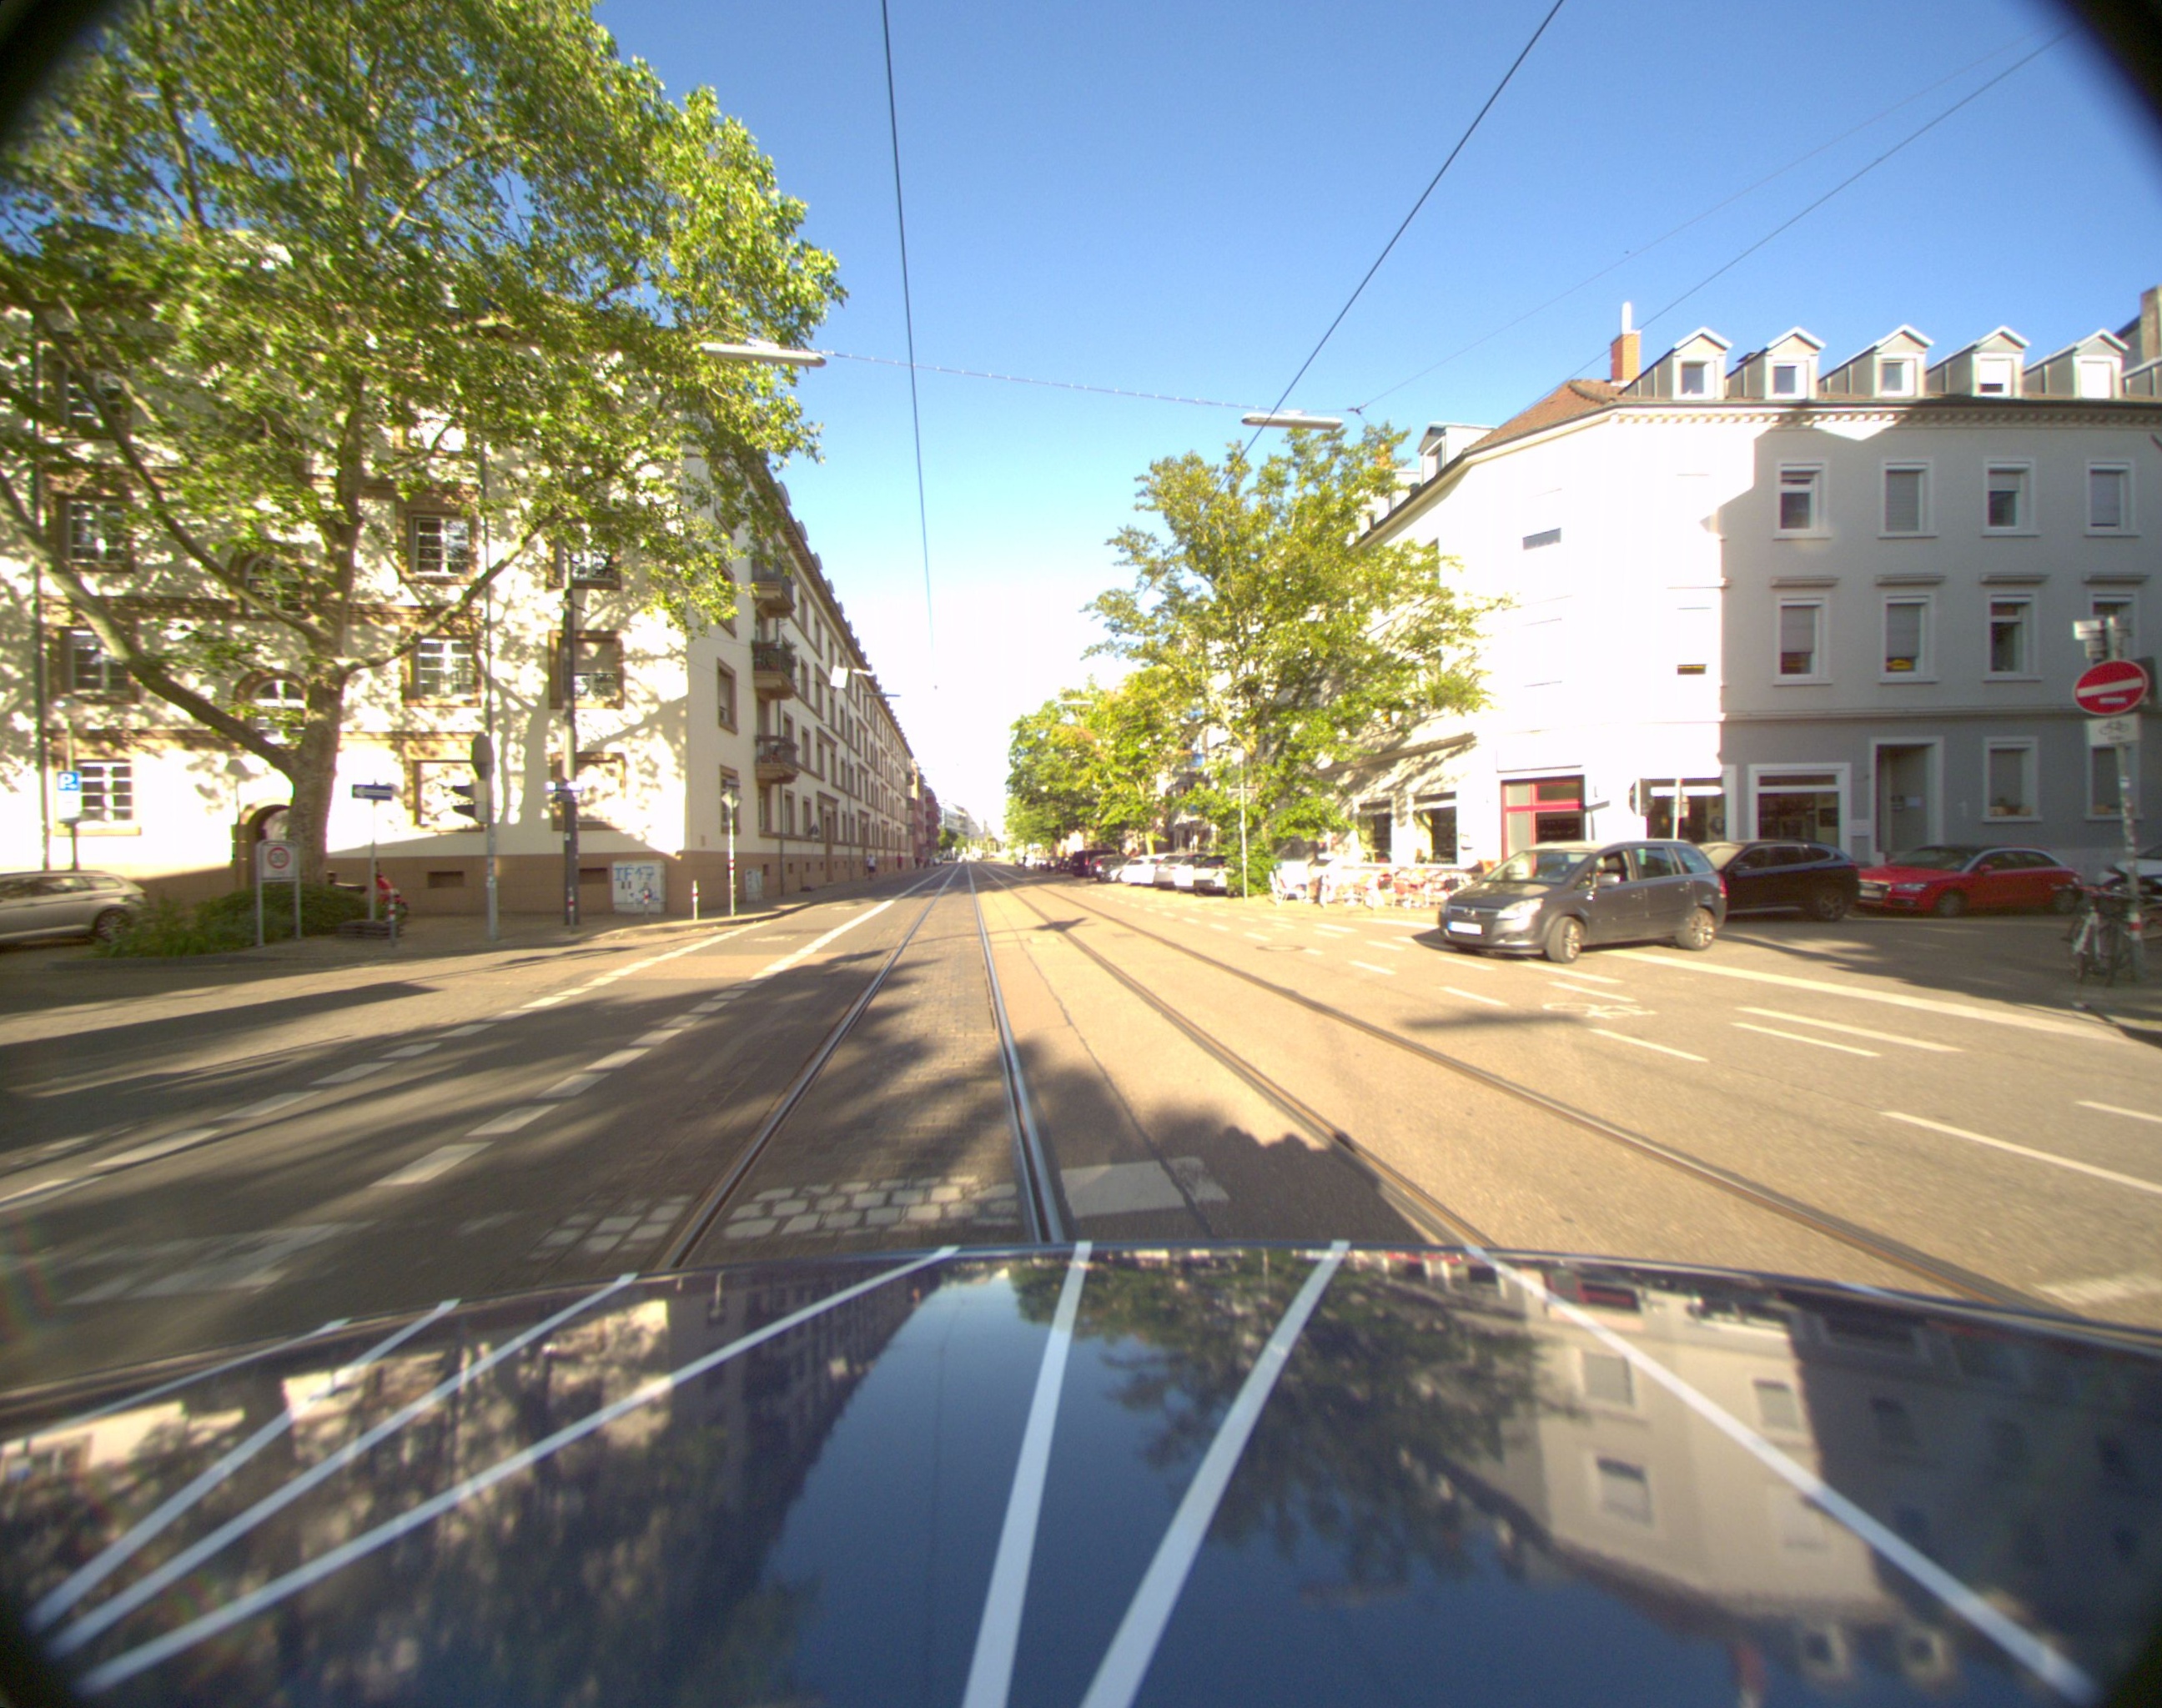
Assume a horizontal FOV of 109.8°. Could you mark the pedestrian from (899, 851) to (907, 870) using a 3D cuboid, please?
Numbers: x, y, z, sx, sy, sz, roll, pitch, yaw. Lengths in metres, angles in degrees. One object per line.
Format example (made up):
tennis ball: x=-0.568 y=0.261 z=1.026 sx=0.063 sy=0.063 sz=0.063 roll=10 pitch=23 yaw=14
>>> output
pedestrian: x=-17.280 y=0.624 z=73.670 sx=0.738 sy=1.827 sz=0.696 roll=-1 pitch=1 yaw=-10

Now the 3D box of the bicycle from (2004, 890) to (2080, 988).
bicycle: x=11.373 y=0.961 z=9.021 sx=1.691 sy=1.039 sz=0.457 roll=1 pitch=-1 yaw=-42

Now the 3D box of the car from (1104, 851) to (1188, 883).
car: x=3.468 y=0.670 z=40.594 sx=4.137 sy=1.480 sz=1.618 roll=-2 pitch=2 yaw=-14

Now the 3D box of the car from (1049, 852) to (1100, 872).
car: x=-0.564 y=0.680 z=66.708 sx=4.140 sy=1.480 sz=1.617 roll=-3 pitch=2 yaw=-24

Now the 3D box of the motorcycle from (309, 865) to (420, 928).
motorcycle: x=-15.802 y=0.923 z=16.795 sx=1.764 sy=1.325 sz=0.515 roll=-1 pitch=1 yaw=-11

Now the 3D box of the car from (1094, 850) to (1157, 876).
car: x=2.989 y=0.547 z=50.566 sx=4.143 sy=1.480 sz=1.615 roll=-3 pitch=2 yaw=-41

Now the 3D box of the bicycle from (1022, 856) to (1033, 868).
bicycle: x=-5.330 y=0.784 z=75.674 sx=0.902 sy=1.158 sz=3.246 roll=-1 pitch=0 yaw=-8

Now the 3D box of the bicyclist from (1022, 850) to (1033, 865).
bicyclist: x=-5.333 y=0.371 z=75.648 sx=0.902 sy=1.445 sz=1.262 roll=-1 pitch=1 yaw=-8

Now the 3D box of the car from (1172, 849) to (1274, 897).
car: x=5.519 y=0.671 z=29.251 sx=4.143 sy=1.547 sz=1.615 roll=-3 pitch=2 yaw=-41

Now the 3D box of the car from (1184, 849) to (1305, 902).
car: x=5.755 y=0.688 z=26.571 sx=4.142 sy=1.547 sz=1.616 roll=-3 pitch=2 yaw=-32

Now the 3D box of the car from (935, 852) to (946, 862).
car: x=-25.451 y=0.516 z=137.662 sx=1.890 sy=1.674 sz=4.388 roll=-2 pitch=-1 yaw=-11

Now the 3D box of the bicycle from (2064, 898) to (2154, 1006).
bicycle: x=11.690 y=1.069 z=8.674 sx=1.667 sy=1.040 sz=0.449 roll=-1 pitch=1 yaw=-42

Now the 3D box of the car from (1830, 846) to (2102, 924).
car: x=18.535 y=0.629 z=16.027 sx=3.953 sy=1.494 sz=1.650 roll=-1 pitch=-1 yaw=-3

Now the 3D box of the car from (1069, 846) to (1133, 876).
car: x=1.433 y=0.442 z=52.288 sx=4.143 sy=1.877 sz=1.884 roll=-3 pitch=2 yaw=-41

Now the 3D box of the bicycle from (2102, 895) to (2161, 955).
bicycle: x=15.626 y=1.036 z=10.791 sx=0.371 sy=0.813 sz=1.311 roll=-1 pitch=1 yaw=-11

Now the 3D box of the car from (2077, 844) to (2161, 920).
car: x=24.287 y=0.562 z=16.317 sx=3.786 sy=1.577 sz=1.641 roll=-1 pitch=-1 yaw=-3

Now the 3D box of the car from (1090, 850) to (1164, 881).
car: x=2.638 y=0.620 z=43.002 sx=4.143 sy=1.480 sz=1.615 roll=-3 pitch=2 yaw=-41

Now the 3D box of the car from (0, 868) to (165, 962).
car: x=-19.523 y=1.091 z=13.399 sx=1.728 sy=1.562 sz=4.472 roll=-1 pitch=0 yaw=-9

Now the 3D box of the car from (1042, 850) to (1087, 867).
car: x=-1.672 y=0.431 z=75.961 sx=4.140 sy=1.480 sz=1.617 roll=-3 pitch=2 yaw=-24

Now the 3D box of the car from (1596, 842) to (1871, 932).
car: x=13.194 y=0.654 z=15.529 sx=4.195 sy=1.652 sz=1.766 roll=-1 pitch=-1 yaw=-3

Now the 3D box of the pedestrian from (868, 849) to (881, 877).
pedestrian: x=-13.736 y=0.577 z=50.624 sx=0.738 sy=1.827 sz=0.696 roll=-1 pitch=1 yaw=-10

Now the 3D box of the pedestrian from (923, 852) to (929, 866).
pedestrian: x=-20.474 y=0.657 z=100.412 sx=0.738 sy=1.827 sz=0.696 roll=-1 pitch=1 yaw=-10

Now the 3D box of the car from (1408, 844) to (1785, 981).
car: x=7.508 y=0.726 z=11.050 sx=5.189 sy=1.652 sz=1.797 roll=-1 pitch=-1 yaw=-20

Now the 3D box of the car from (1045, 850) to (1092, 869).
car: x=-1.160 y=0.497 z=72.691 sx=4.140 sy=1.653 sz=1.617 roll=-3 pitch=2 yaw=-24

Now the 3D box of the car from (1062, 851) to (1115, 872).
car: x=0.595 y=0.613 z=62.701 sx=4.135 sy=1.480 sz=1.618 roll=-2 pitch=2 yaw=-9

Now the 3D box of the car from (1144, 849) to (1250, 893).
car: x=4.805 y=0.663 z=31.306 sx=4.141 sy=1.547 sz=1.616 roll=-3 pitch=2 yaw=-28

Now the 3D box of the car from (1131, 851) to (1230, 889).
car: x=4.495 y=0.675 z=34.332 sx=4.139 sy=1.480 sz=1.617 roll=-3 pitch=2 yaw=-22

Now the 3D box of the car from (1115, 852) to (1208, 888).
car: x=3.863 y=0.714 z=36.470 sx=4.140 sy=1.480 sz=1.617 roll=-3 pitch=2 yaw=-23

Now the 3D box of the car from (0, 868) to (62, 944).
car: x=-22.047 y=1.052 z=13.702 sx=1.728 sy=1.492 sz=4.472 roll=-1 pitch=0 yaw=-9

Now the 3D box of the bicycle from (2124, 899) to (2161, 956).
bicycle: x=16.011 y=1.086 z=10.829 sx=0.355 sy=0.813 sz=1.311 roll=-1 pitch=1 yaw=-11
